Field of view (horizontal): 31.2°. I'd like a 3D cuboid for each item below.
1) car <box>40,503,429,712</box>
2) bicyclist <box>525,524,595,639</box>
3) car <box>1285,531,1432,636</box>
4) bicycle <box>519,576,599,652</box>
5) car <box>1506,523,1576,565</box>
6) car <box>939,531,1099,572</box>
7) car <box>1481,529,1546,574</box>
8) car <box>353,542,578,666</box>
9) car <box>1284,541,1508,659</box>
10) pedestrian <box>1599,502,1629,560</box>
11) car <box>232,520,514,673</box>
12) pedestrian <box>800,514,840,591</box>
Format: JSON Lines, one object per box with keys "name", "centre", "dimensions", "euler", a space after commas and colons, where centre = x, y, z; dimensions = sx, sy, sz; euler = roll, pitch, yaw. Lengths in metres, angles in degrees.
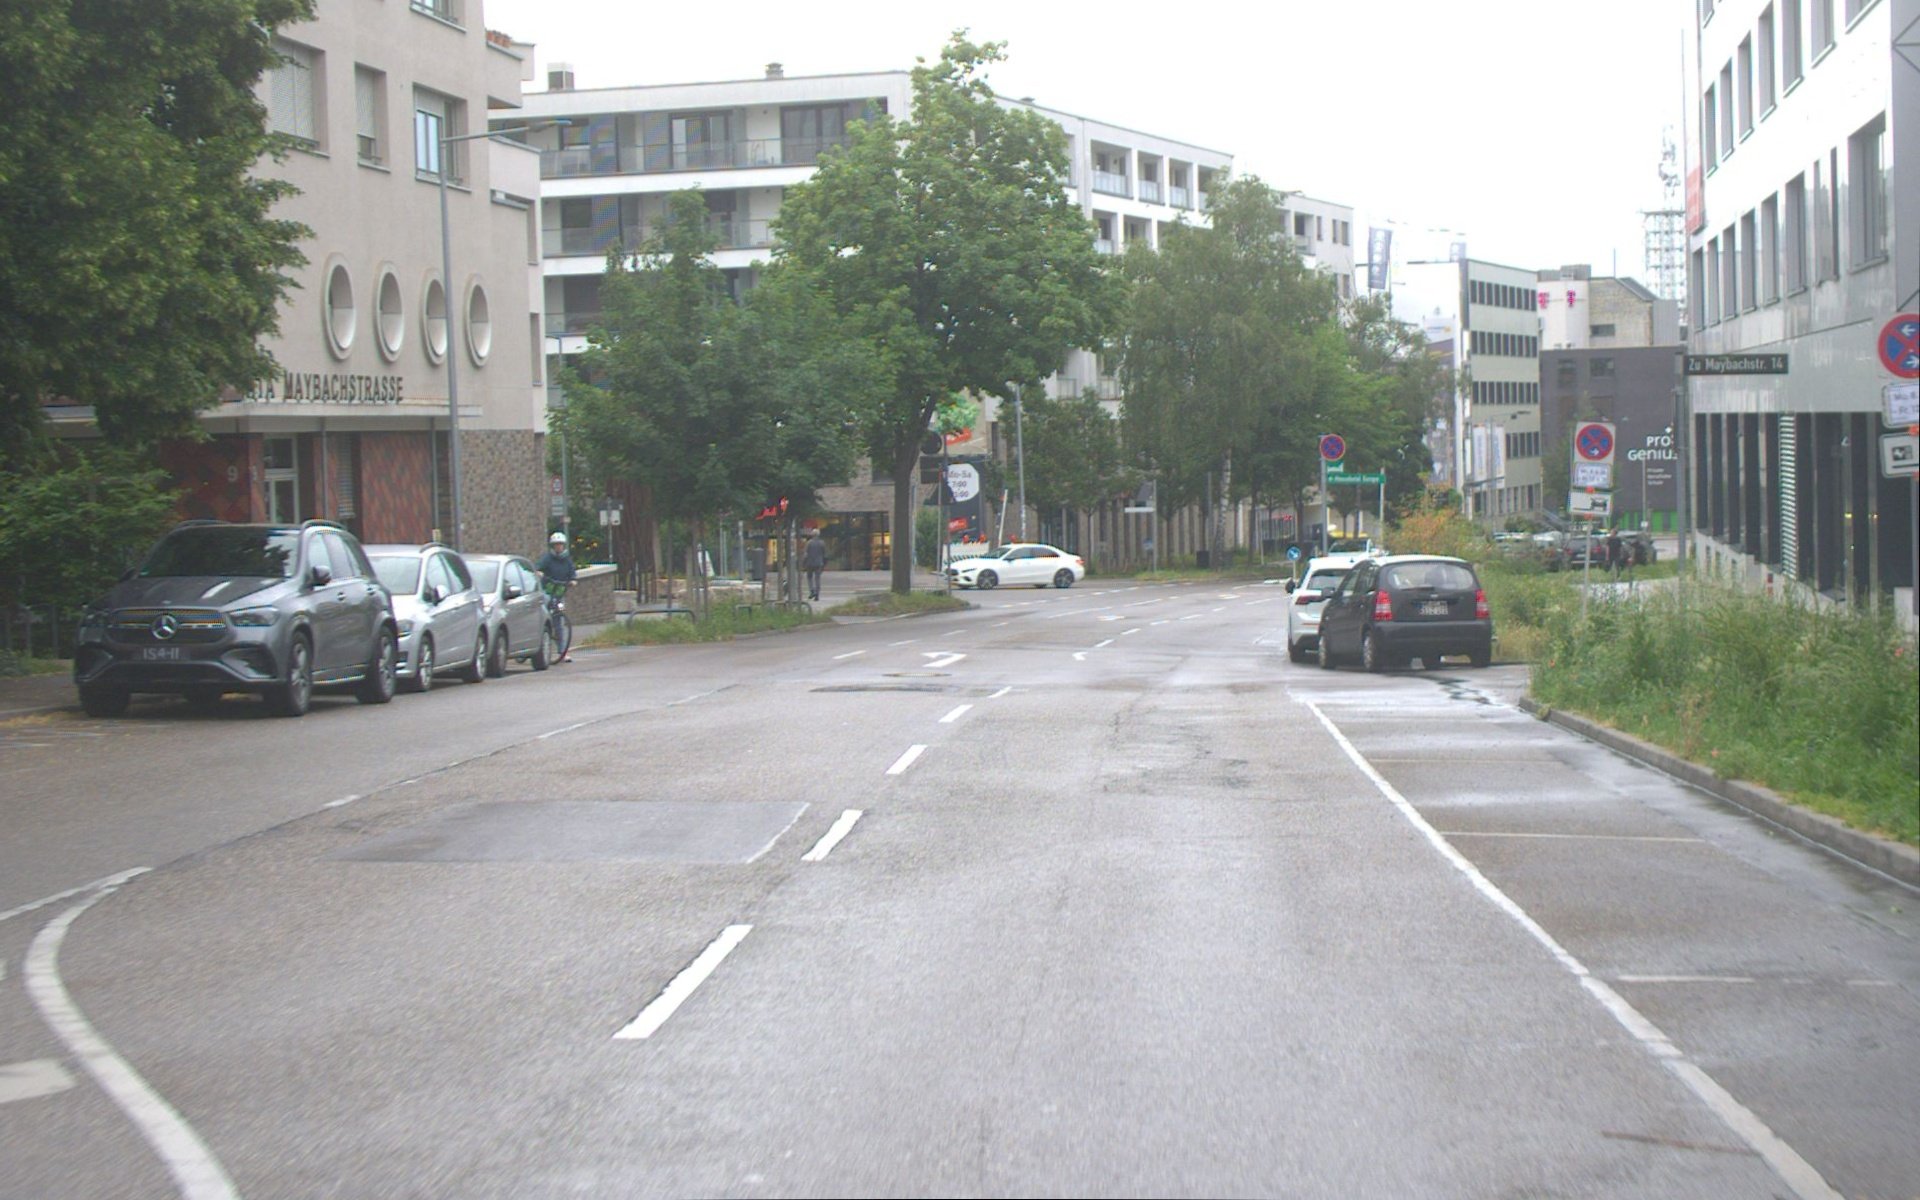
{"name": "car", "centre": [-6.622, 0.025, 32.082], "dimensions": [1.994, 1.780, 5.409], "euler": [0, 1, 6]}
{"name": "bicyclist", "centre": [-5.350, -0.249, 46.028], "dimensions": [0.801, 1.517, 1.202], "euler": [0, 1, 0]}
{"name": "car", "centre": [5.781, -0.276, 50.269], "dimensions": [2.040, 1.459, 4.502], "euler": [0, 1, 5]}
{"name": "bicycle", "centre": [-5.353, 0.173, 46.019], "dimensions": [0.802, 0.975, 2.255], "euler": [0, 1, 0]}
{"name": "car", "centre": [20.991, -2.025, 124.130], "dimensions": [1.809, 1.479, 4.491], "euler": [0, 1, 19]}
{"name": "car", "centre": [1.890, -1.551, 109.664], "dimensions": [4.686, 1.288, 2.000], "euler": [-1, 1, -23]}
{"name": "car", "centre": [19.195, -1.697, 119.164], "dimensions": [1.547, 1.473, 3.657], "euler": [0, 2, 20]}
{"name": "car", "centre": [-6.043, 0.016, 42.447], "dimensions": [1.880, 1.458, 3.846], "euler": [0, 1, 6]}
{"name": "car", "centre": [5.675, -0.038, 45.237], "dimensions": [2.044, 1.453, 4.056], "euler": [0, 1, -6]}
{"name": "pedestrian", "centre": [20.400, -2.145, 107.260], "dimensions": [0.823, 1.790, 1.207], "euler": [-1, 0, 13]}
{"name": "car", "centre": [-6.403, -0.068, 37.989], "dimensions": [1.990, 1.587, 4.489], "euler": [0, 1, 5]}
{"name": "pedestrian", "centre": [-3.698, -1.254, 90.959], "dimensions": [1.055, 2.007, 1.100], "euler": [0, 1, -2]}
